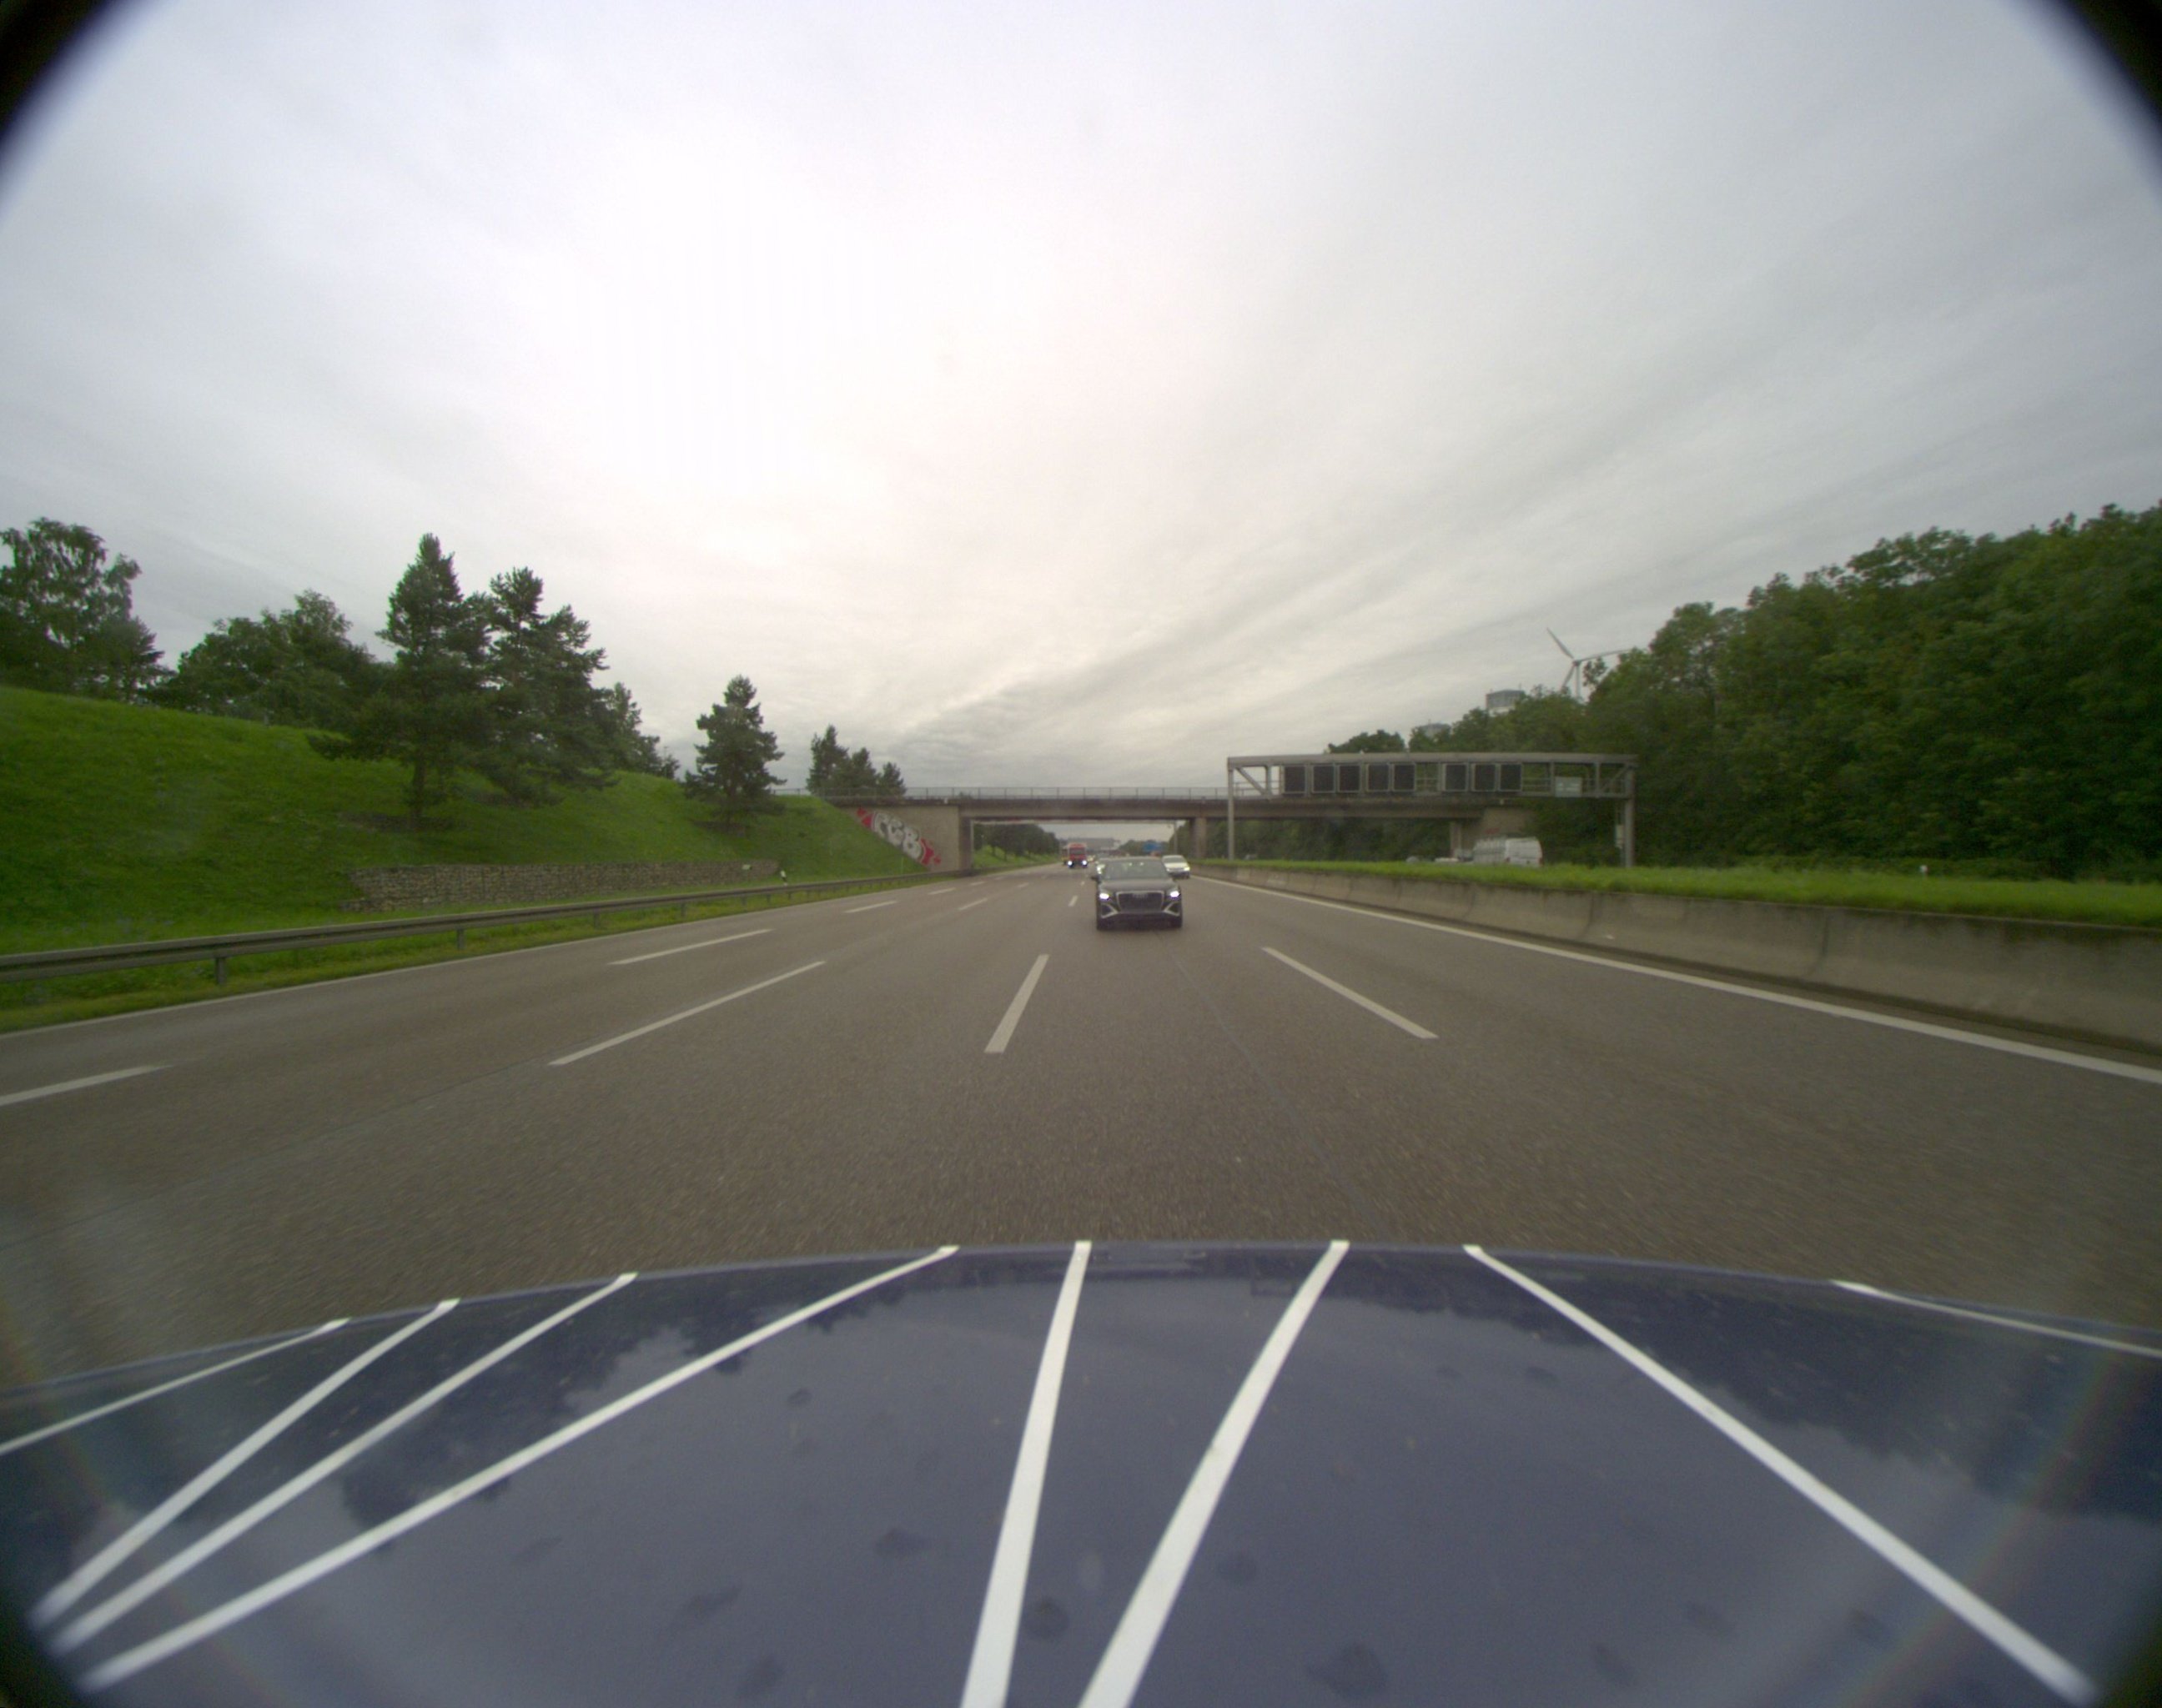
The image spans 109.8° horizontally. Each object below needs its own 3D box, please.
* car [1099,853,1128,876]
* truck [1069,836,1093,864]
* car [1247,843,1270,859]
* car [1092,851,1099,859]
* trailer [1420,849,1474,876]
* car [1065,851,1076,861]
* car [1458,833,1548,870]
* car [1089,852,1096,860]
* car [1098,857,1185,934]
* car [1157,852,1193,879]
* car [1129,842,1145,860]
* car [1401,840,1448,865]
[{"bbox_3d":[2.387,0.724,56.677,1.998,1.555,4.910,-2,0,1],"label":"car"},{"bbox_3d":[0.099,-0.589,108.445,2.836,3.634,10.672,-2,1,3],"label":"truck"},{"bbox_3d":[22.719,-0.376,97.362,1.998,1.928,3.999,-1,1,1],"label":"car"},{"bbox_3d":[4.055,0.323,213.835,1.998,2.002,3.999,-2,1,1],"label":"car"},{"bbox_3d":[28.909,0.632,60.220,1.998,2.002,5.177,-2,1,3],"label":"trailer"},{"bbox_3d":[-2.276,0.355,161.598,1.998,2.002,4.000,-2,1,2],"label":"car"},{"bbox_3d":[25.755,-0.187,46.673,2.202,2.072,6.065,-2,1,1],"label":"car"},{"bbox_3d":[3.072,0.447,194.854,1.690,1.875,3.741,-2,1,2],"label":"car"},{"bbox_3d":[1.240,0.836,16.745,1.616,1.403,3.326,-2,1,1],"label":"car"},{"bbox_3d":[5.942,0.690,48.280,1.757,1.608,4.663,-1,0,1],"label":"car"},{"bbox_3d":[6.766,-0.378,92.426,1.725,2.002,3.851,-2,1,1],"label":"car"},{"bbox_3d":[28.994,-0.127,64.275,1.998,2.002,4.365,-2,1,1],"label":"car"}]
